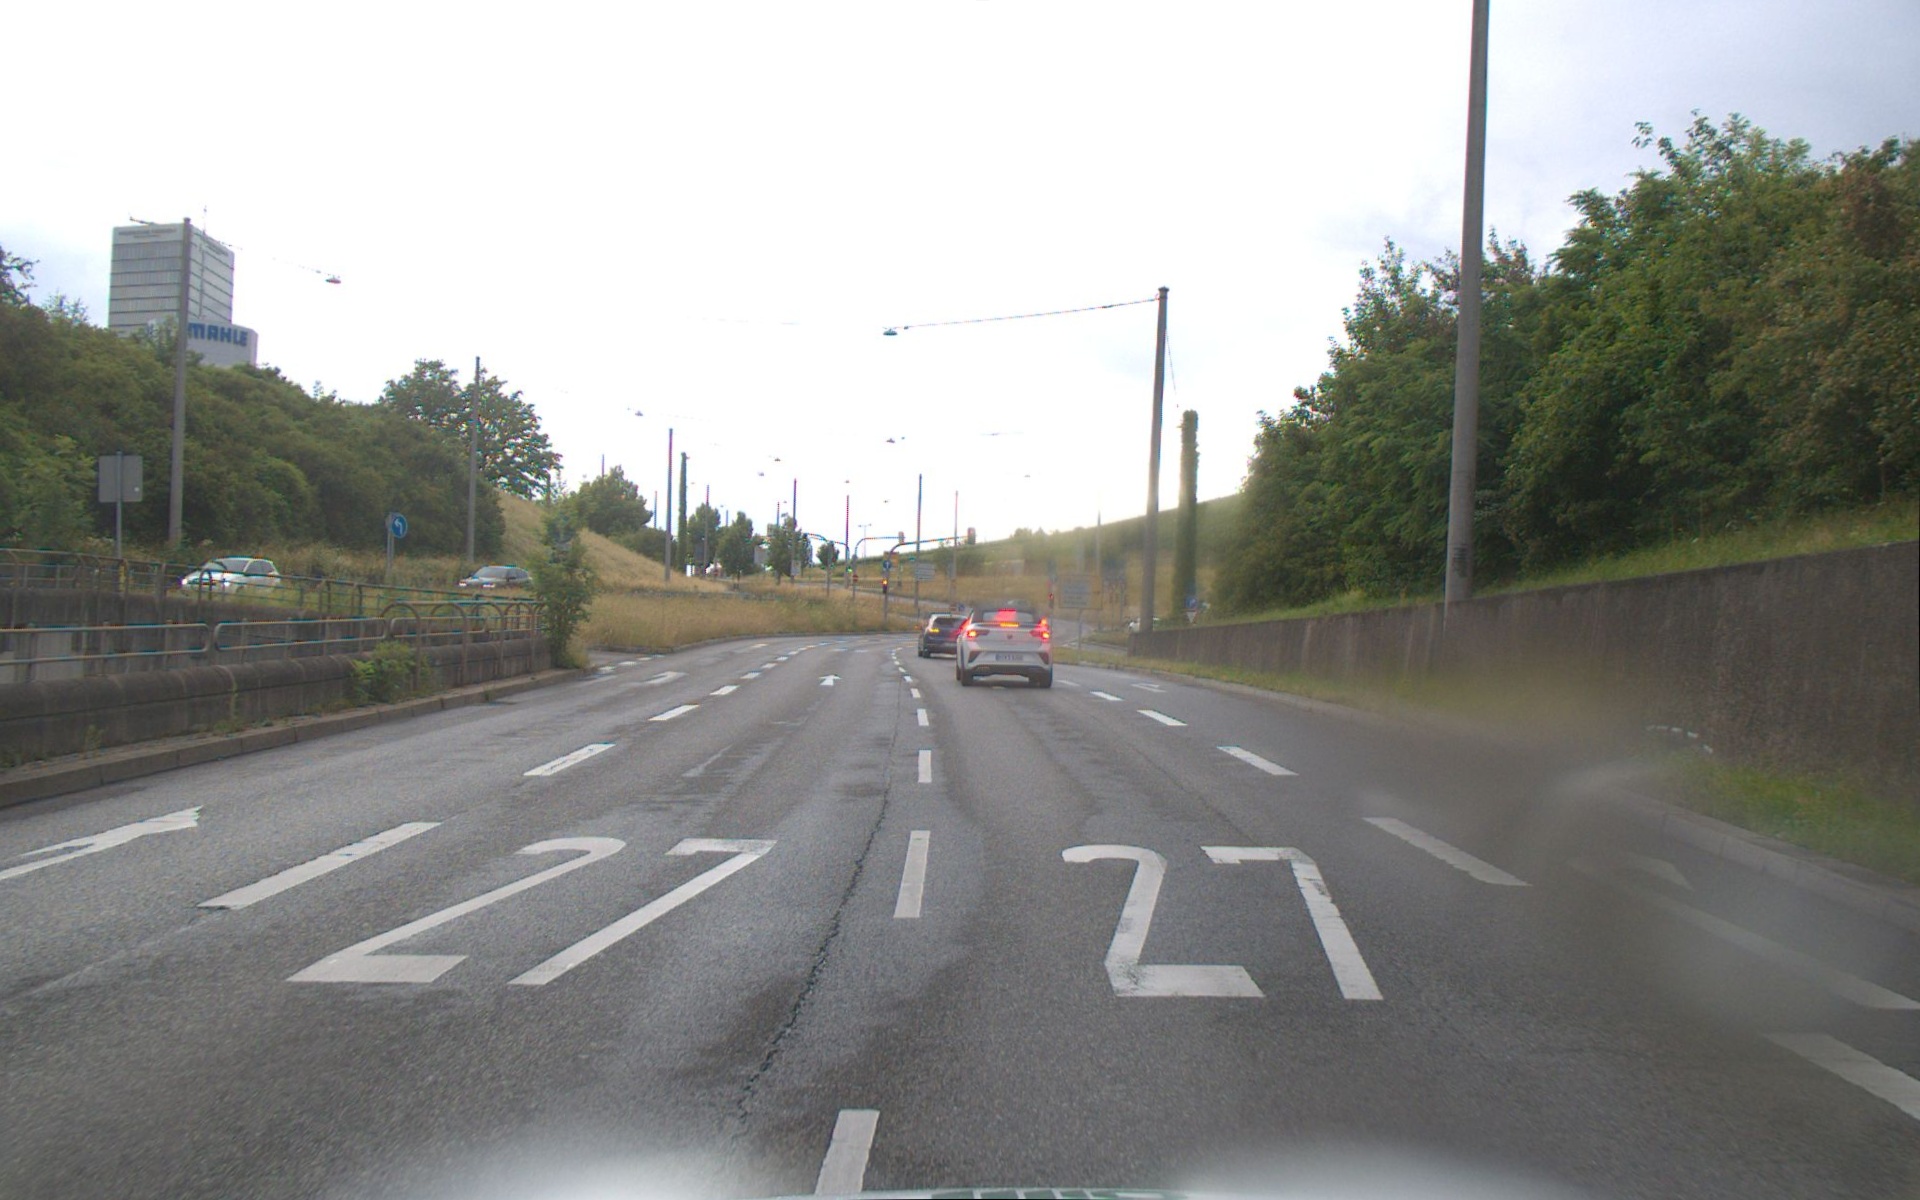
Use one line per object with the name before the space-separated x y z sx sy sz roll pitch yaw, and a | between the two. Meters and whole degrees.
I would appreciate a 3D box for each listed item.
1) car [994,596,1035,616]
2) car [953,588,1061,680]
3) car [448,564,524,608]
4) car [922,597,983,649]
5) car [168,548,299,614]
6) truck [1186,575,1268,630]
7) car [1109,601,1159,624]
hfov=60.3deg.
car | 5.095 0.587 154.795 1.970 1.742 4.523 0 1 -27
car | 0.901 0.660 32.838 1.955 1.606 4.125 3 -1 1
car | -20.303 -0.566 71.006 1.954 1.665 4.720 4 0 -2
car | -0.221 0.782 55.863 1.886 1.627 4.061 2 -1 1
car | -22.154 -0.561 50.656 1.953 1.867 4.629 2 0 -1
truck | 19.230 0.115 119.477 2.813 3.587 6.186 1 3 -25
car | 13.803 0.955 131.556 1.967 1.527 4.531 1 3 -24
